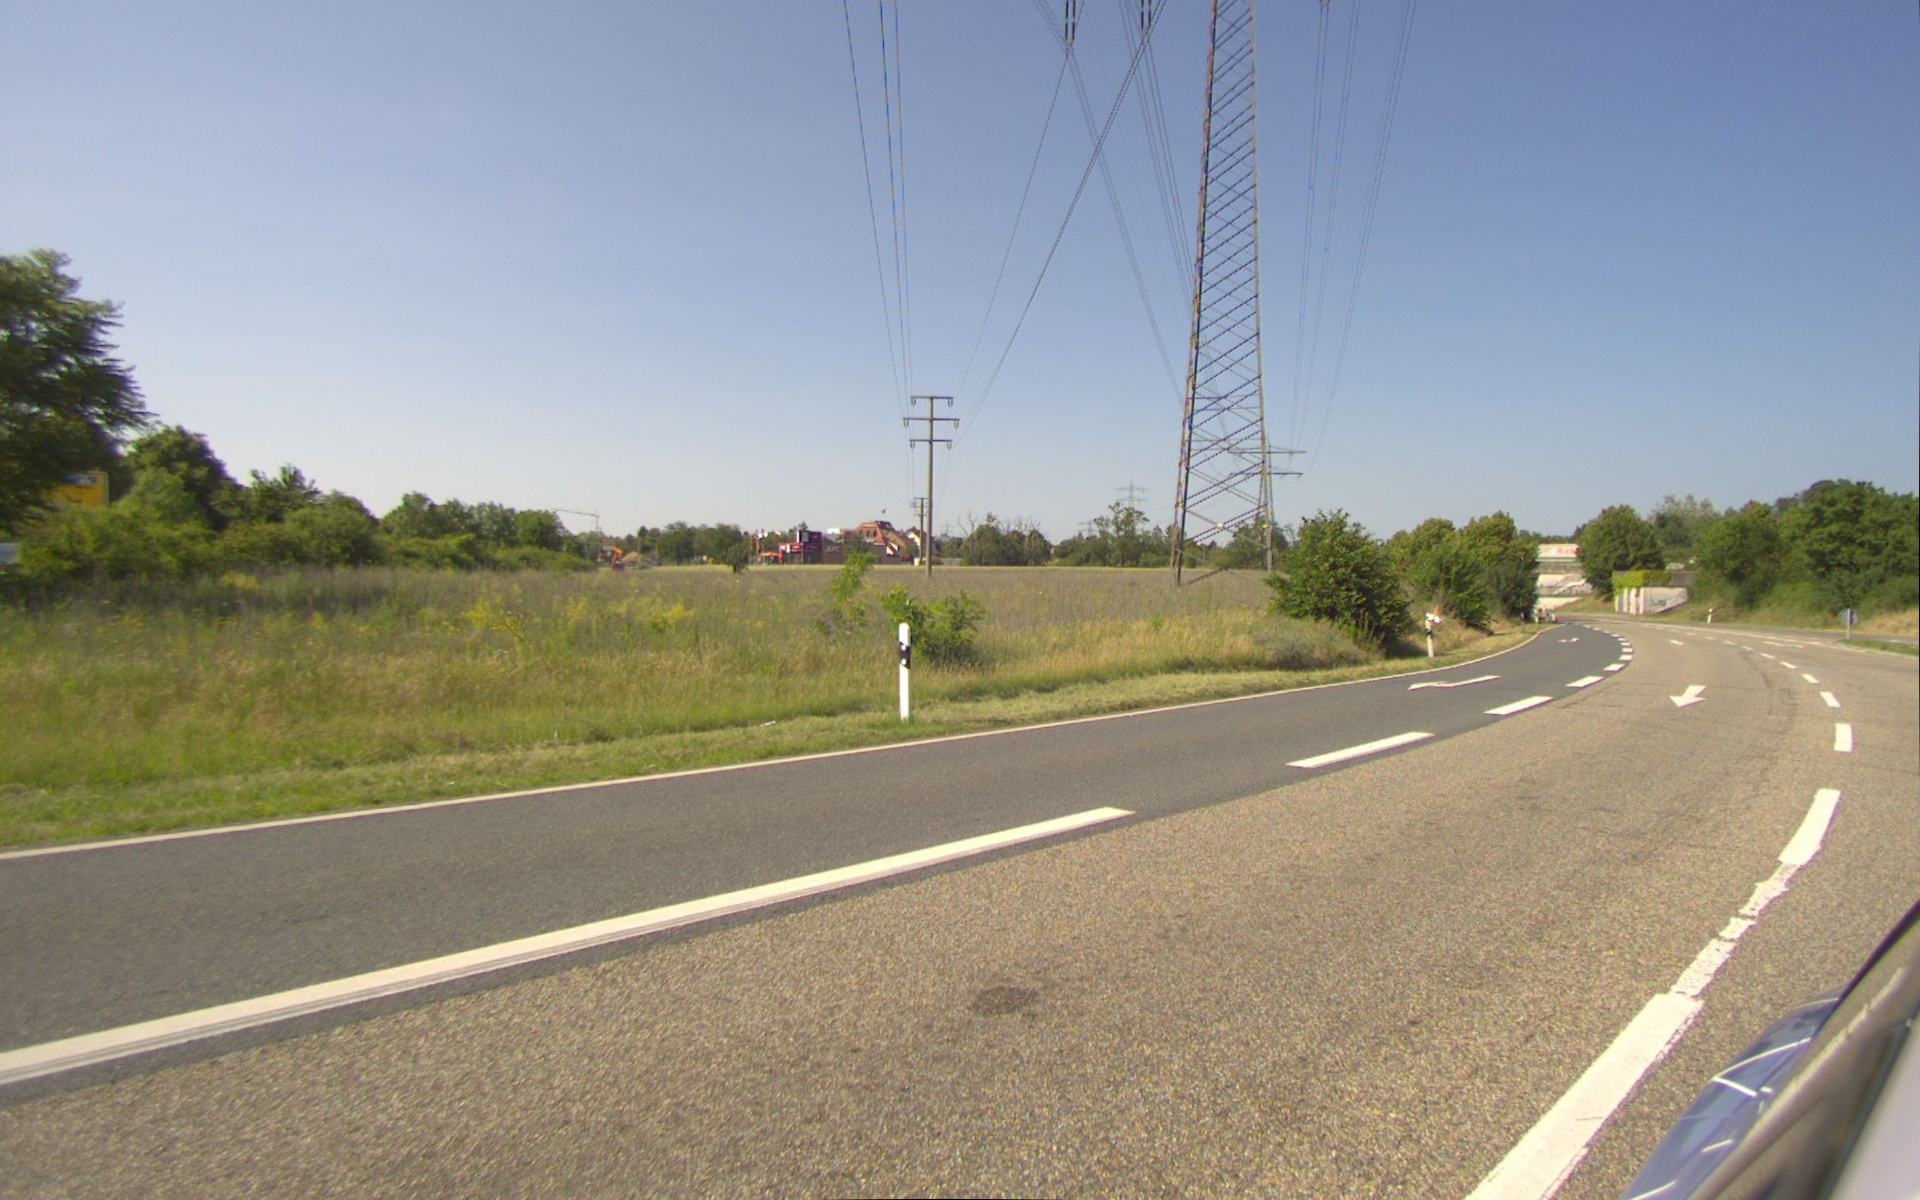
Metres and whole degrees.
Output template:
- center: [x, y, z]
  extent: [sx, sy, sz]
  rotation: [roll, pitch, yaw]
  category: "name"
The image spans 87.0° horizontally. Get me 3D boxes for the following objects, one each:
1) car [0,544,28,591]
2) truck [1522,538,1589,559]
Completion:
- center: [-51.487, -1.734, 53.515]
  extent: [1.431, 2.467, 3.914]
  rotation: [0, 0, -12]
  category: "car"
- center: [101.186, -8.700, 172.128]
  extent: [2.328, 3.067, 10.169]
  rotation: [0, 0, -26]
  category: "truck"
